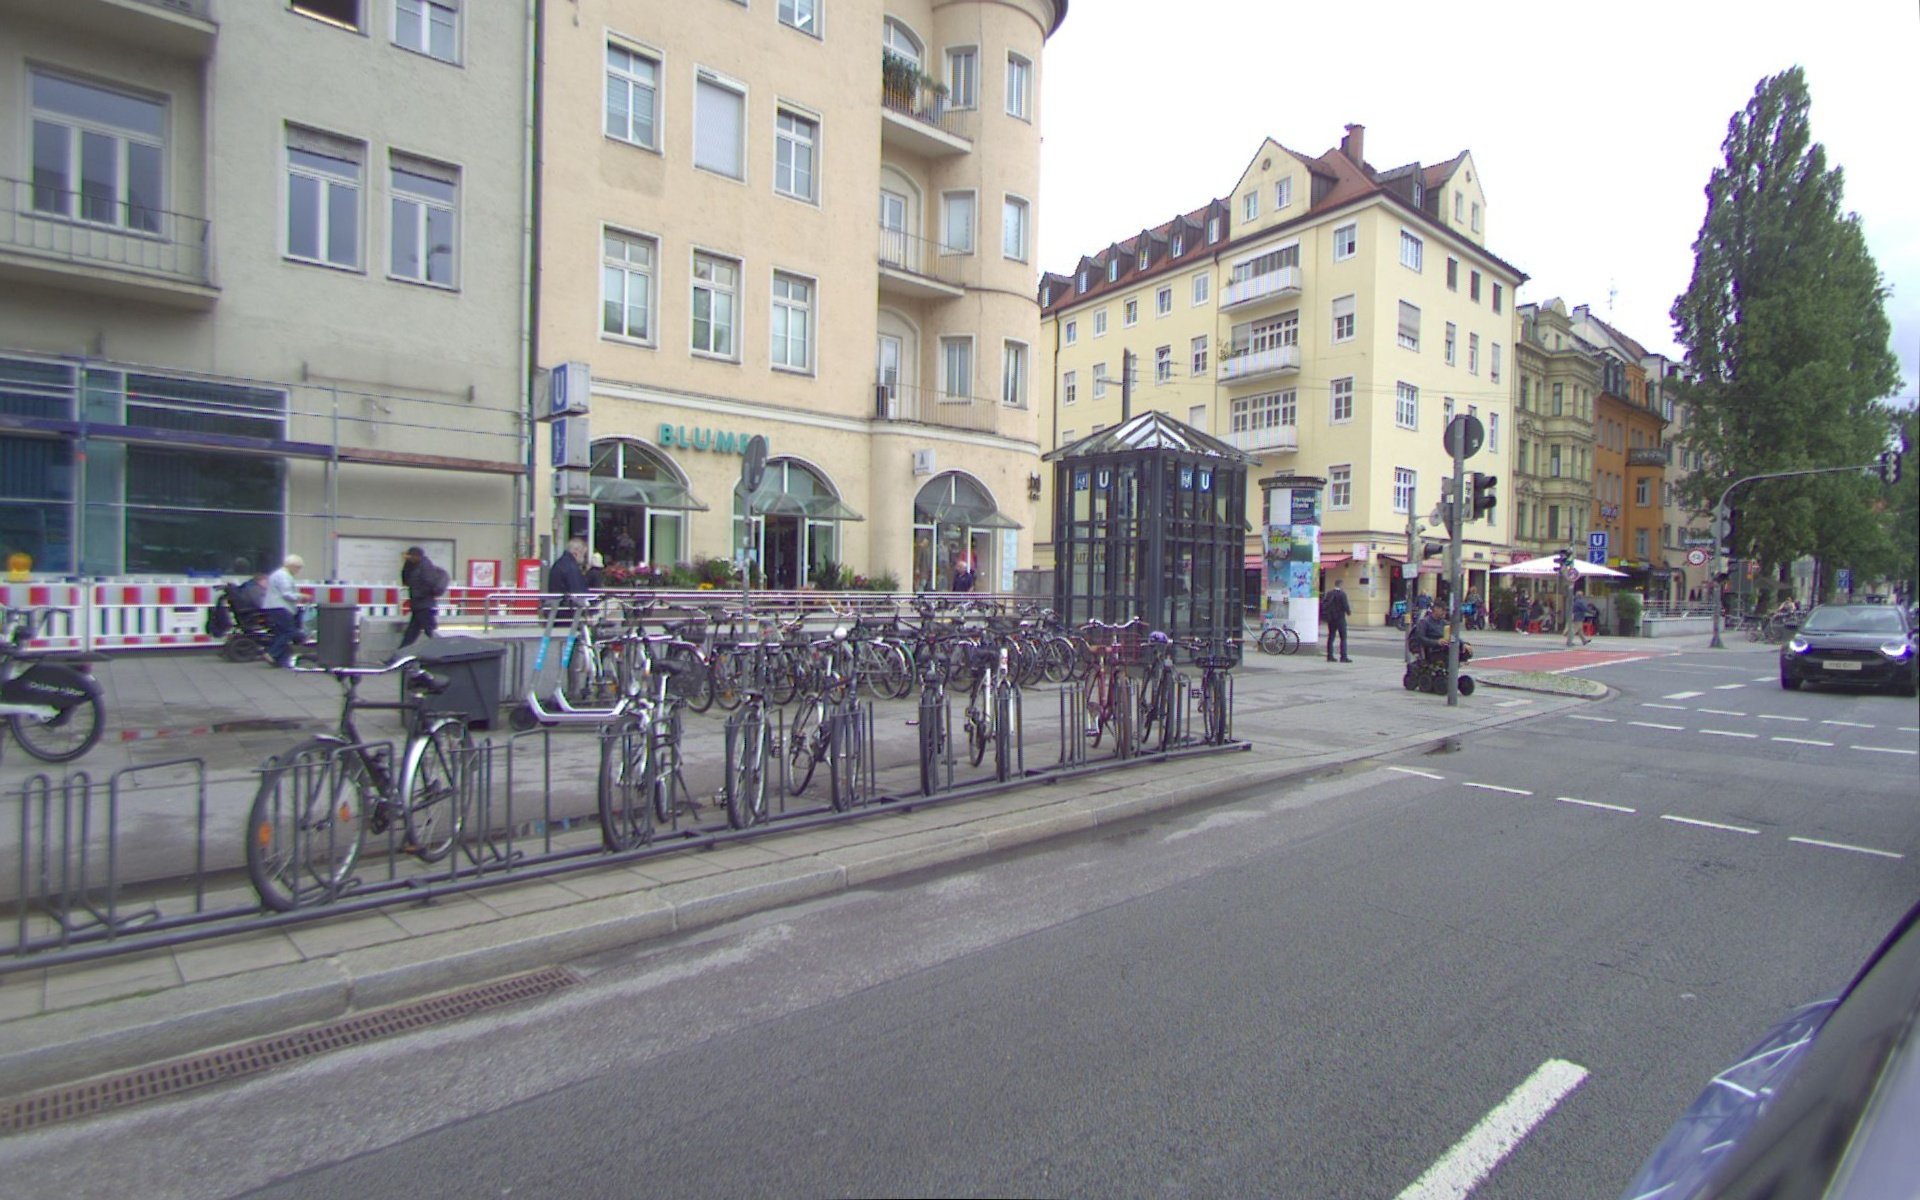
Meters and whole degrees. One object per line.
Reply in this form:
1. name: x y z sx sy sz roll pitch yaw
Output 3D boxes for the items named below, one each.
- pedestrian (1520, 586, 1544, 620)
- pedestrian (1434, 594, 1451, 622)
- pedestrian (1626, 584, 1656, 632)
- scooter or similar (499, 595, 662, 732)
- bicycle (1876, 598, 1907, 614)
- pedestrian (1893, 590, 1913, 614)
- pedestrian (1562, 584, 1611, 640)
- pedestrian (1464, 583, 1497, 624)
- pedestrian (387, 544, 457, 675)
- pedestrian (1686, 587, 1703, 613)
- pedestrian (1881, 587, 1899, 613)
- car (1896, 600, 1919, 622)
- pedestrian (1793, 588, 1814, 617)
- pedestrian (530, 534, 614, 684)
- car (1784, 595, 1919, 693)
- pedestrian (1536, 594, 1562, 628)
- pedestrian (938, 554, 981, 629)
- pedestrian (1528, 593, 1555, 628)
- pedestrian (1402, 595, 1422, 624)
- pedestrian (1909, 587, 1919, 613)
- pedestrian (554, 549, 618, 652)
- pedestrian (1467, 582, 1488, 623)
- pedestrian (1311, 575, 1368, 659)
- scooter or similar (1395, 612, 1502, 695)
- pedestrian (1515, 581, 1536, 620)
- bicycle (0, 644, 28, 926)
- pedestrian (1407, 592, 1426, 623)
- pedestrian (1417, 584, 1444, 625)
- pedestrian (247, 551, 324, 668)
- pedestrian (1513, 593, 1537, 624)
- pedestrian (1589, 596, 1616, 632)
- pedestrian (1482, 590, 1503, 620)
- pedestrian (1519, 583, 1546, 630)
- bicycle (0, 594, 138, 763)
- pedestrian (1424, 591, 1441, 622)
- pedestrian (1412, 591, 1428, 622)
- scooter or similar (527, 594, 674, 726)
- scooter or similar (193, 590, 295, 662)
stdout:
1. pedestrian: 24.391 0.113 43.153 0.606 1.440 0.676 0 1 -41
2. pedestrian: 21.057 0.355 44.187 0.518 1.180 0.479 0 1 -43
3. pedestrian: 25.707 0.277 38.219 0.877 1.765 0.848 2 1 32
4. scooter or similar: -3.404 0.566 9.138 1.319 1.190 0.365 1 1 -11
5. bicycle: 65.870 0.422 71.581 0.352 1.116 1.748 1 1 -7
6. pedestrian: 66.789 0.122 71.661 0.743 1.658 0.700 1 0 5
7. pedestrian: 20.431 0.380 33.002 1.044 1.777 0.938 1 1 -30
8. pedestrian: 21.823 0.136 42.450 1.024 1.704 0.835 1 1 15
9. pedestrian: -7.230 0.109 13.593 0.708 1.691 0.659 1 2 -37
10. pedestrian: 50.602 -0.011 69.713 0.999 1.735 0.747 0 1 -42
11. pedestrian: 65.865 -0.011 71.677 0.638 1.803 0.702 1 0 -8
12. car: 77.456 0.864 82.209 4.426 1.681 1.735 0 1 -43
13. pedestrian: 46.138 0.152 55.337 0.749 1.582 0.761 1 0 -40
14. pedestrian: -4.742 0.087 12.341 0.744 1.749 0.816 1 2 -35
15. car: 16.133 0.700 17.920 3.902 1.523 1.777 -1 -1 -42
16. pedestrian: 23.549 0.415 40.444 0.782 1.328 0.679 0 1 -41
17. pedestrian: -0.007 -0.198 23.794 0.670 1.727 0.746 1 1 -39
18. pedestrian: 22.895 0.415 39.865 0.782 1.328 0.679 0 1 -41
19. pedestrian: 18.942 0.383 42.429 0.691 1.197 0.515 0 1 -43
20. pedestrian: 68.040 0.026 71.795 0.741 1.824 0.883 1 -1 -31
21. pedestrian: -6.290 -0.008 17.016 0.745 1.671 0.752 1 2 -43
22. pedestrian: 22.661 0.118 44.350 0.654 1.761 0.601 0 1 -41
23. pedestrian: 7.986 0.337 21.314 0.803 1.712 0.838 1 1 -4
24. scooter or similar: 7.233 0.769 15.041 0.762 1.088 1.259 2 2 -11
25. pedestrian: 24.601 0.024 44.023 0.666 1.653 0.616 0 1 -41
26. bicycle: -4.108 0.759 3.261 0.639 1.125 1.807 1 1 -4
27. pedestrian: 19.458 0.310 43.114 0.691 1.308 0.515 0 1 -43
28. pedestrian: 19.361 0.166 41.628 0.773 1.653 0.711 0 1 -41
29. pedestrian: -9.214 0.111 13.821 0.745 1.536 0.778 1 2 -43
30. pedestrian: 22.968 0.343 41.133 0.688 1.218 0.627 0 1 -41
31. pedestrian: 24.700 0.531 38.923 0.782 1.327 0.679 0 1 -41
32. pedestrian: 23.069 0.213 43.820 0.654 1.237 0.601 0 1 -41
33. pedestrian: 21.584 0.237 38.152 0.752 1.716 0.762 1 1 23
34. bicycle: -6.852 0.539 7.127 1.688 1.156 0.370 1 1 -9
35. pedestrian: 20.295 0.269 43.440 0.518 1.315 0.479 0 1 -43
36. pedestrian: 19.909 0.281 43.798 0.518 1.315 0.479 0 1 -43
37. scooter or similar: -3.345 0.559 9.475 1.250 1.190 0.302 1 1 -11
38. scooter or similar: -10.104 0.351 14.289 1.106 0.955 0.535 1 2 -43
